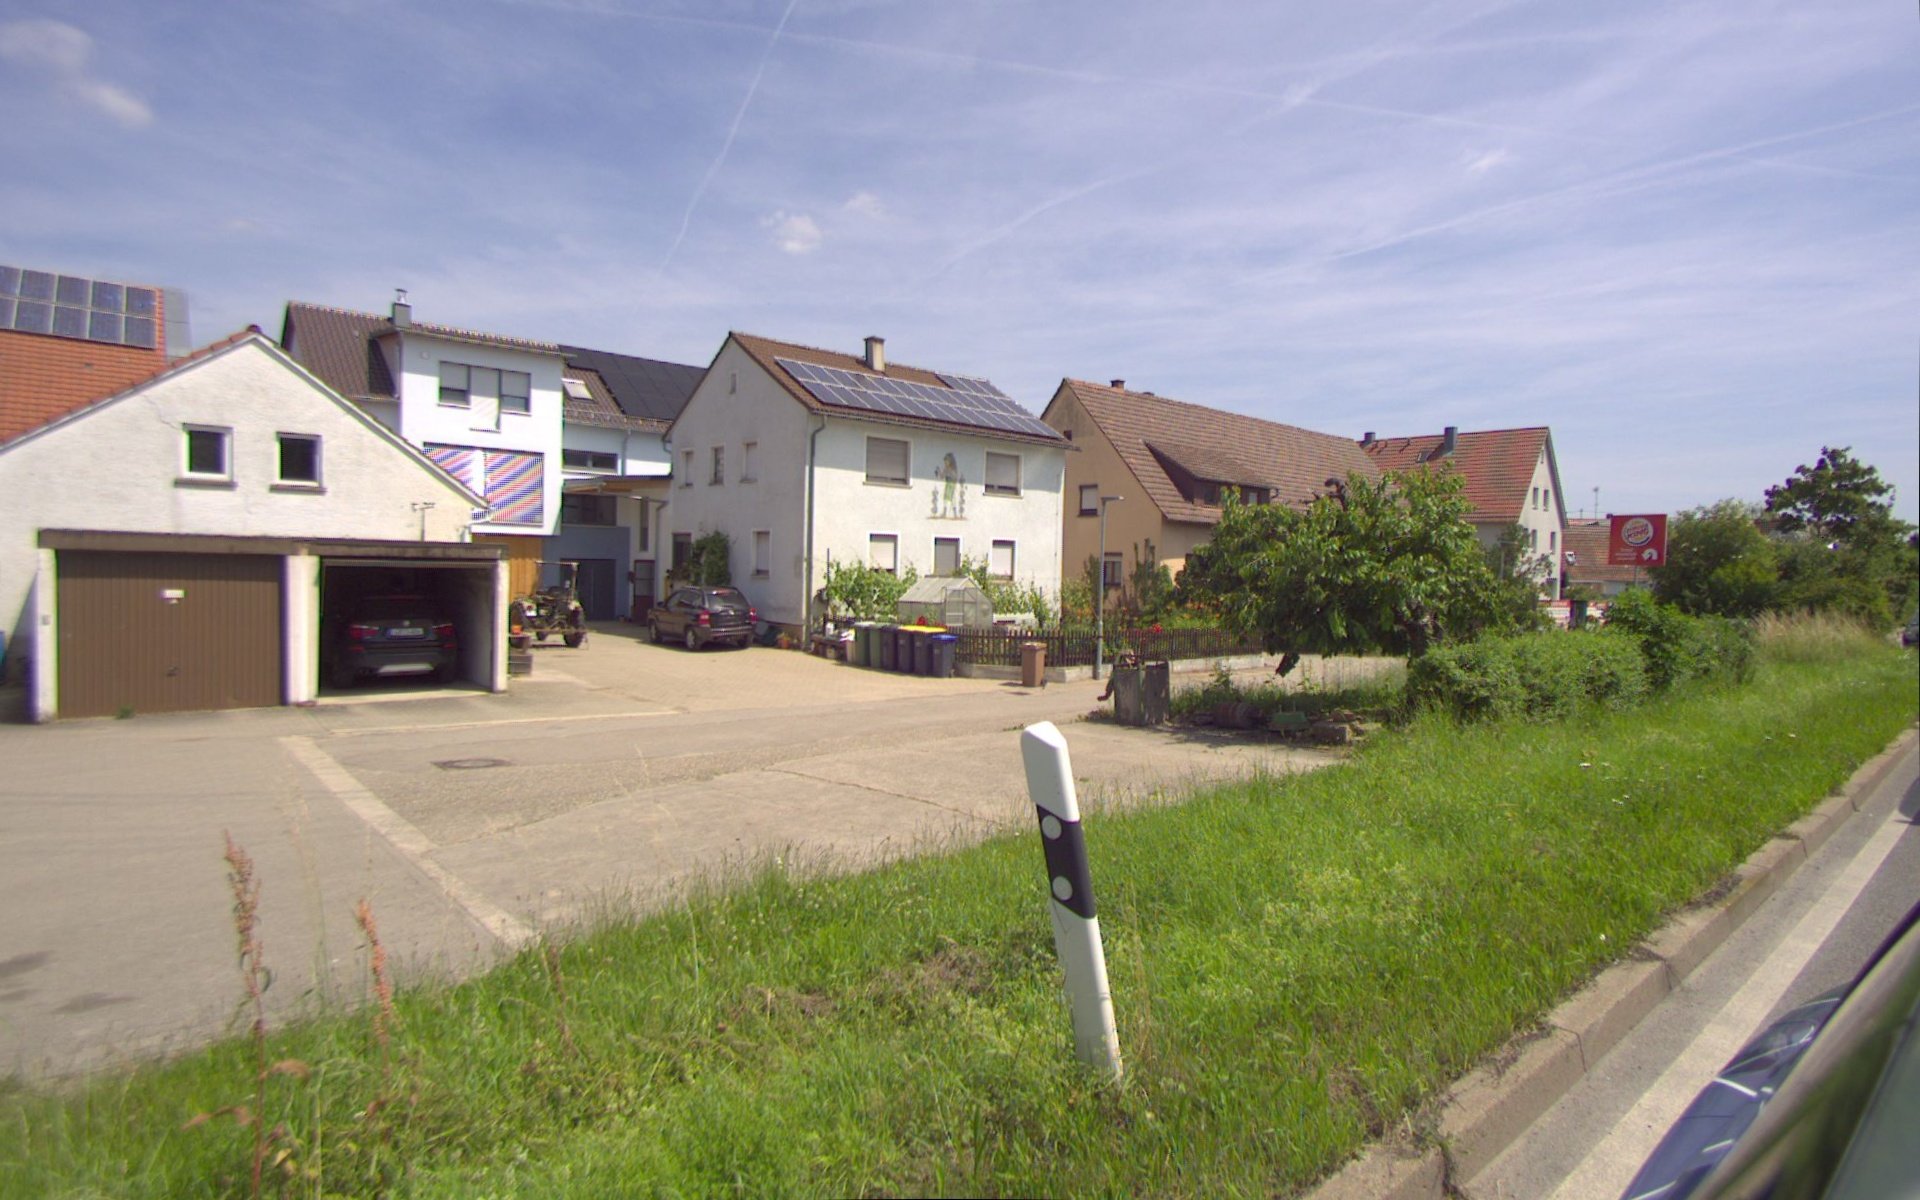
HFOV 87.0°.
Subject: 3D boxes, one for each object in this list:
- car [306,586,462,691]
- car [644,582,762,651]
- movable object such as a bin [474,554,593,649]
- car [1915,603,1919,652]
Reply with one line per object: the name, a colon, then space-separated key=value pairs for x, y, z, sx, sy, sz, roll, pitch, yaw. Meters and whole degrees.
car: x=-10.537 y=0.588 z=18.383 sx=1.802 sy=1.597 sz=3.996 roll=-1 pitch=2 yaw=-40
car: x=-7.349 y=0.384 z=28.695 sx=1.810 sy=1.714 sz=3.959 roll=-1 pitch=3 yaw=-38
movable object such as a bin: x=-11.596 y=-0.017 z=27.391 sx=2.041 sy=2.372 sz=3.719 roll=2 pitch=1 yaw=-38
car: x=31.975 y=0.839 z=32.502 sx=3.492 sy=1.504 sz=1.633 roll=0 pitch=-2 yaw=-43
